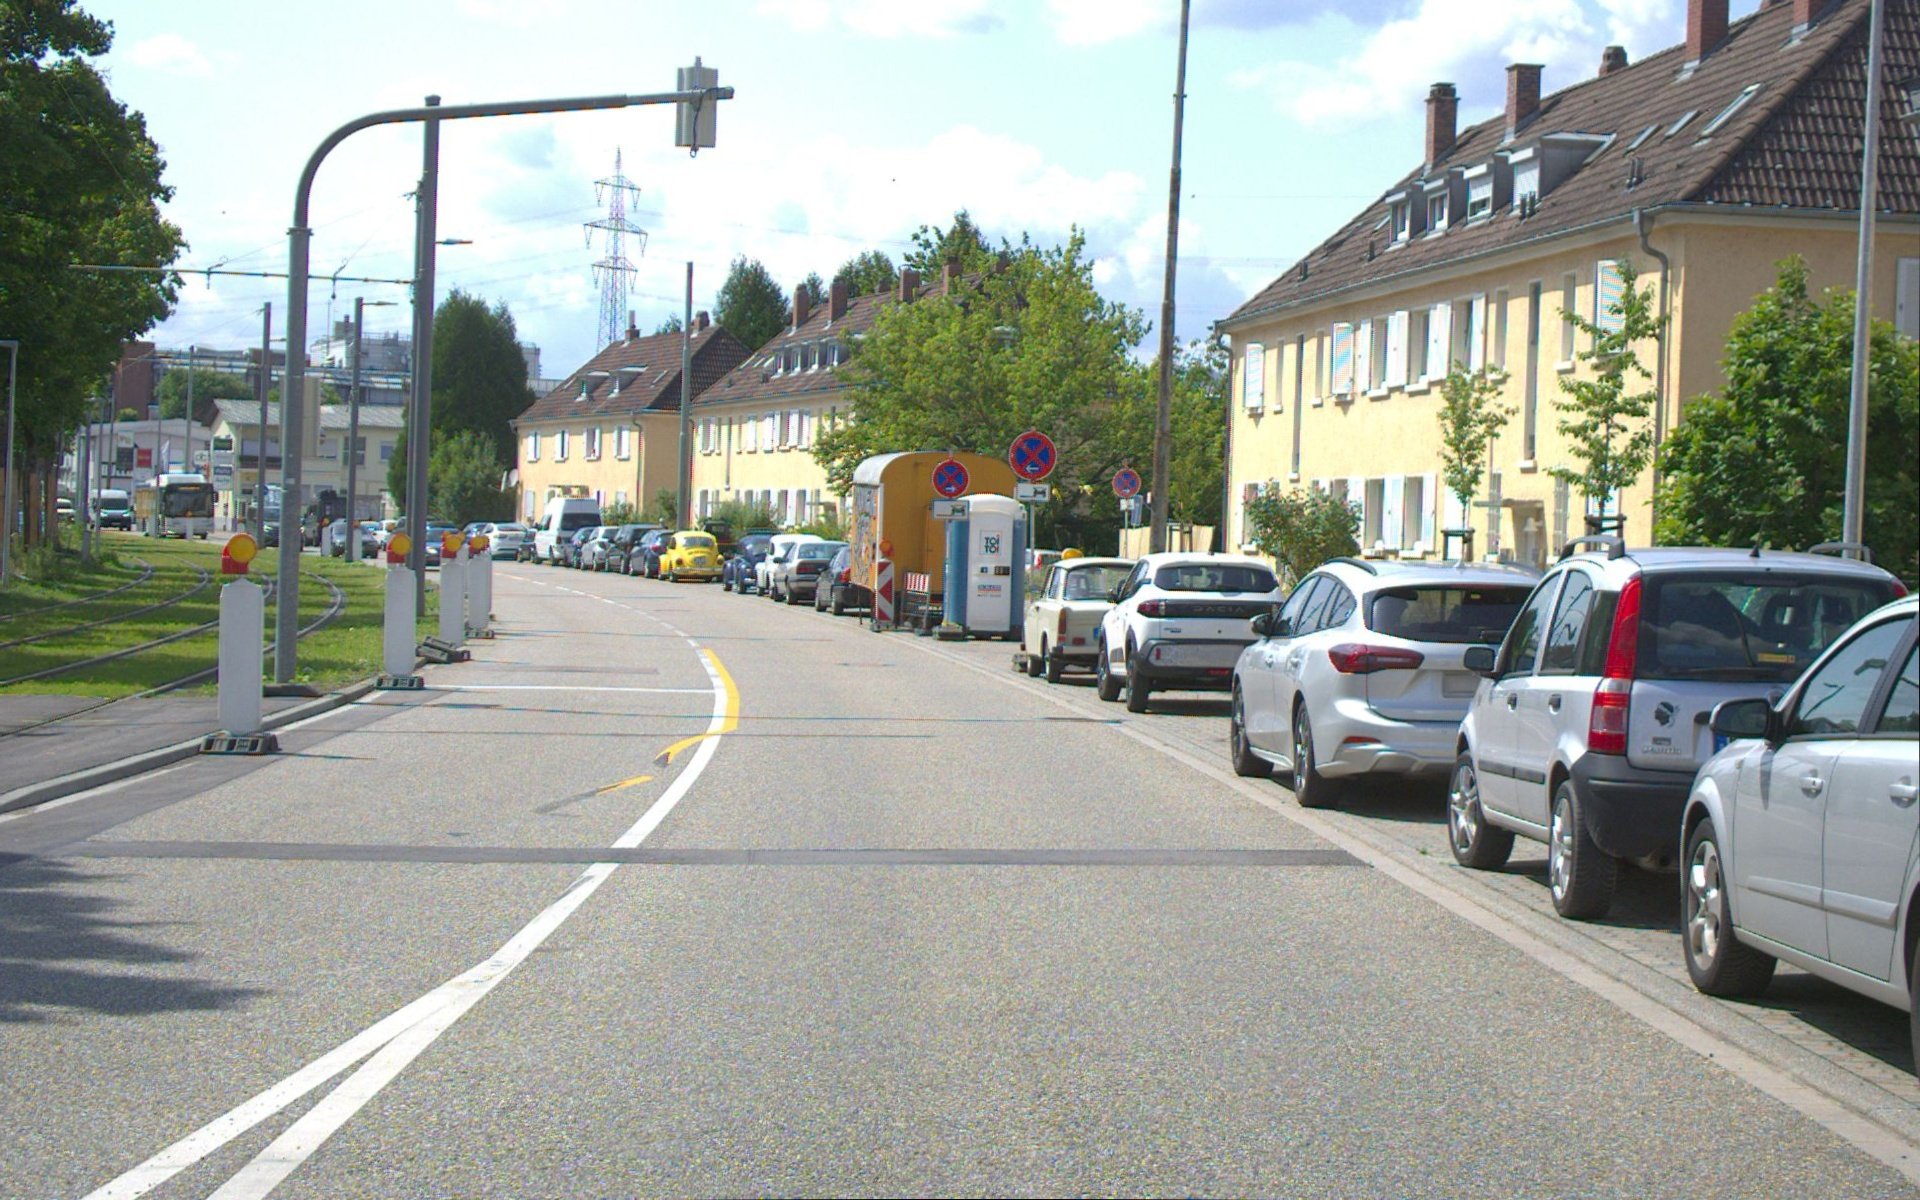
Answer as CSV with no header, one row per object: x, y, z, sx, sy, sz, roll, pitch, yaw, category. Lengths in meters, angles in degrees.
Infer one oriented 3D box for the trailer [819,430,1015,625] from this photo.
-0.836,-1.301,61.123,2.689,3.215,5.083,2,1,-9,trailer

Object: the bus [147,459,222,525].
-41.978,-5.870,185.861,2.635,3.400,12.253,0,2,-19,bus

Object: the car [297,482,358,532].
-32.247,-4.744,175.173,1.959,2.470,6.062,0,2,-21,car

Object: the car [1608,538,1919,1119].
3.315,0.598,10.316,1.707,1.499,4.256,2,1,-3,car

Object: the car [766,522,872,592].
-3.200,-0.990,77.223,1.706,1.444,4.836,2,1,-10,car

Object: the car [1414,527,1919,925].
3.163,0.464,15.514,1.628,1.544,3.810,1,1,-1,car

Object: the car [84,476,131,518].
-52.410,-6.342,211.276,2.102,2.435,5.573,2,1,-20,car

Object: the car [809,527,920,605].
-1.968,-0.711,69.435,1.577,1.444,4.455,2,1,-10,car

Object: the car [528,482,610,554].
-14.079,-2.967,123.544,1.928,2.472,5.520,1,1,-16,car

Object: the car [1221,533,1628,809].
2.744,0.355,21.268,1.749,1.492,4.386,1,1,-2,car

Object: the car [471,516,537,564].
-14.128,-1.868,106.482,1.665,1.444,3.961,-1,2,-13,car

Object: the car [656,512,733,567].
-7.709,-1.783,99.589,1.636,1.477,3.933,-1,3,-13,car

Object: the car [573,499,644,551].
-11.657,-2.497,113.727,1.635,1.597,4.031,2,1,-15,car

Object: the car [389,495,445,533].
-24.367,-3.855,154.181,1.763,1.637,4.001,0,2,-20,car

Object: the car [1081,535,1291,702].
2.118,0.133,33.062,1.527,1.476,3.810,1,1,-3,car

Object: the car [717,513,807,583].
-5.062,-1.340,87.287,1.548,1.635,4.248,2,1,-13,car

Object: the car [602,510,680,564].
-10.212,-2.021,109.907,1.635,1.597,3.933,2,1,-17,car

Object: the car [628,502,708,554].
-8.893,-2.204,104.517,1.635,1.477,4.126,2,1,-15,car

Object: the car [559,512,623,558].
-12.720,-2.248,118.370,1.535,1.440,3.738,2,1,-15,car

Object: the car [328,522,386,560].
-23.456,-2.307,133.647,1.724,1.384,4.123,2,1,-16,car

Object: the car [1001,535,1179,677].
1.443,0.030,39.446,1.463,1.497,4.110,1,1,-6,car

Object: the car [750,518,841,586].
-3.969,-1.167,82.261,1.577,1.507,4.461,2,1,-10,car

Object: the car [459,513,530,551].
-18.398,-2.680,135.765,1.798,1.453,4.767,0,1,-20,car
